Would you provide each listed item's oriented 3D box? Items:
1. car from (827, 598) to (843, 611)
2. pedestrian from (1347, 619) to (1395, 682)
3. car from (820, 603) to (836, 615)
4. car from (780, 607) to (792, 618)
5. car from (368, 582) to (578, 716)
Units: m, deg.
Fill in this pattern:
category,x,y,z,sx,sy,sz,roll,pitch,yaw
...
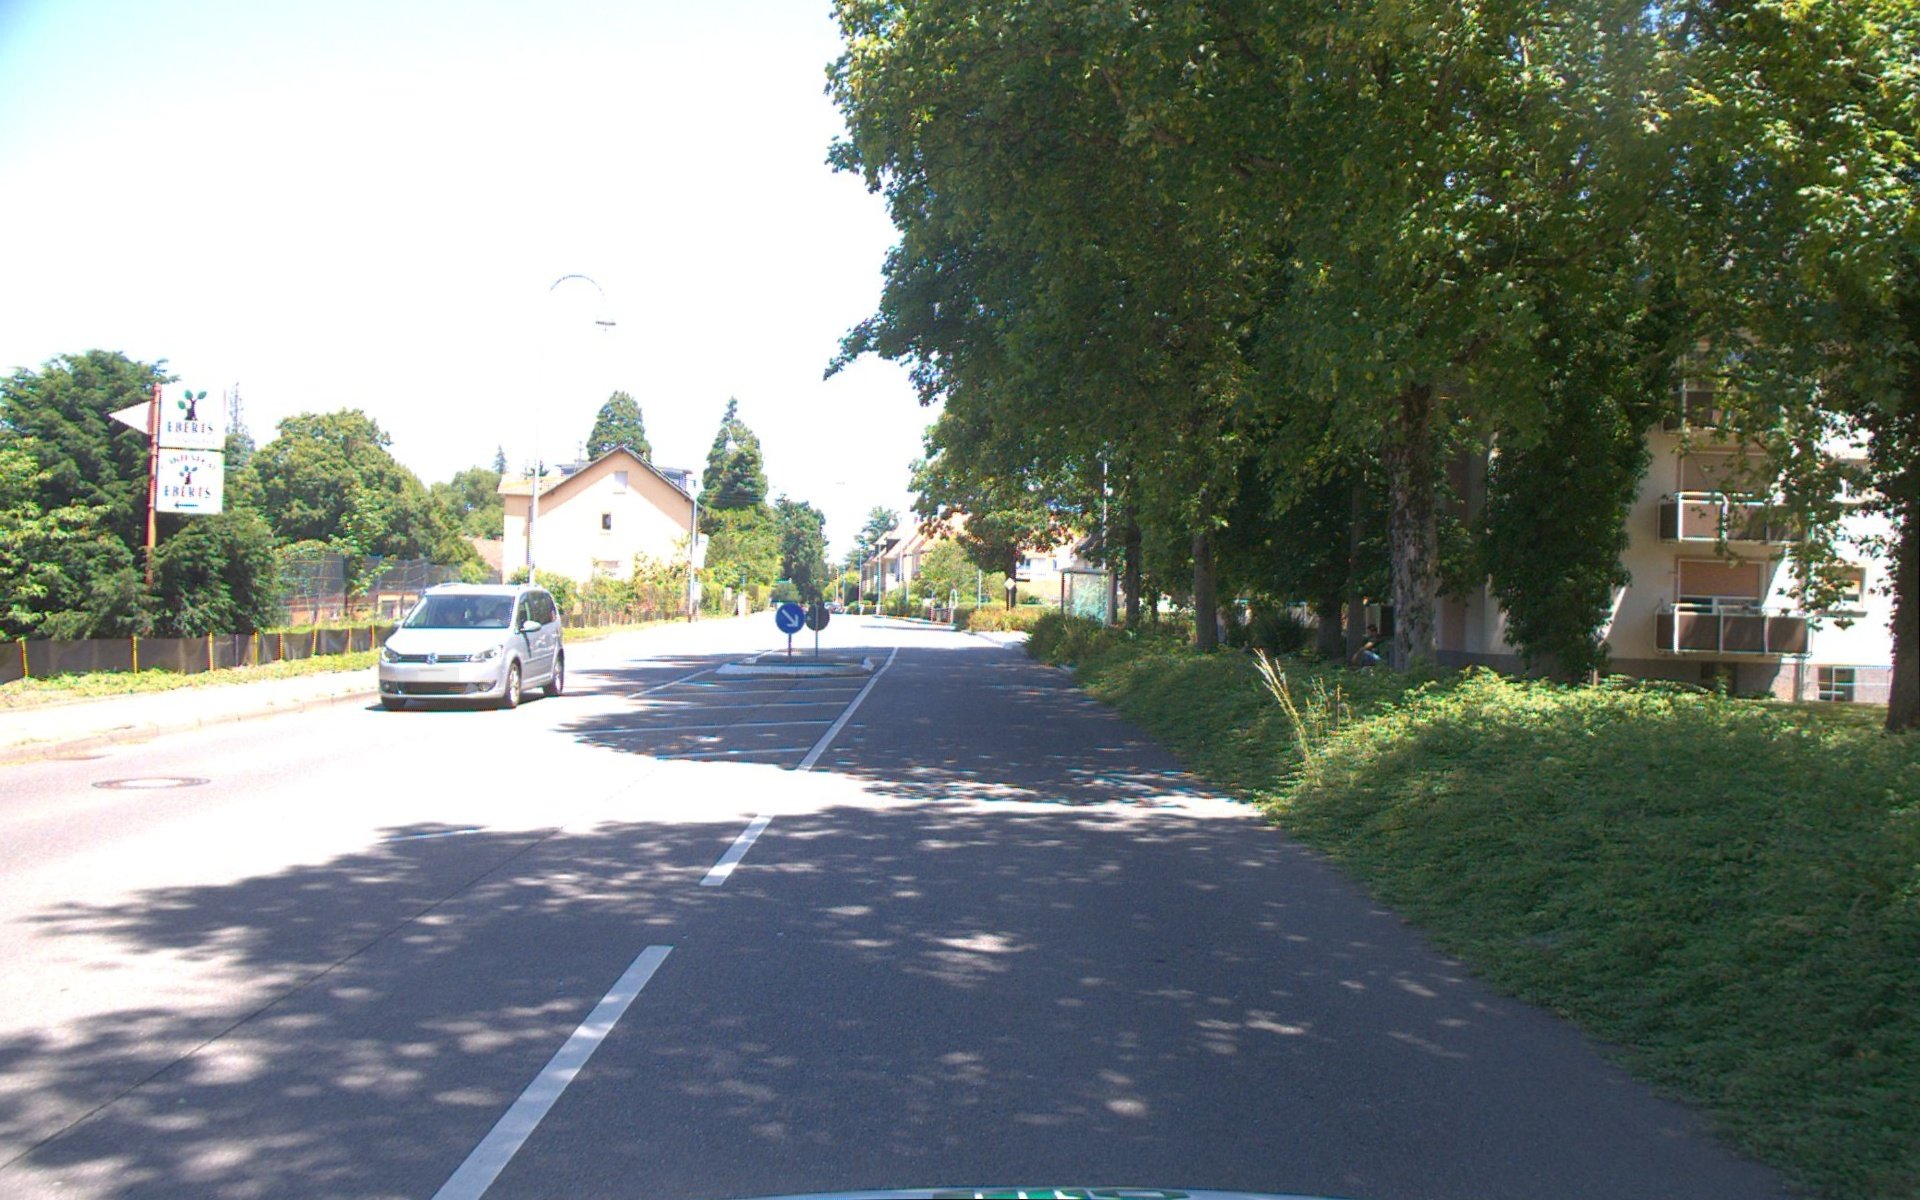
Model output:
category,x,y,z,sx,sy,sz,roll,pitch,yaw
car,-15.672,0.575,207.178,1.661,1.444,4.542,2,-2,-8
pedestrian,8.912,1.089,35.895,0.919,1.315,1.070,2,0,11
car,-17.302,1.203,216.635,1.661,1.444,4.542,2,-2,-8
car,-24.027,1.733,228.557,1.648,1.396,4.201,0,0,-6
car,-6.718,0.620,23.327,1.747,1.673,4.687,0,0,-3
